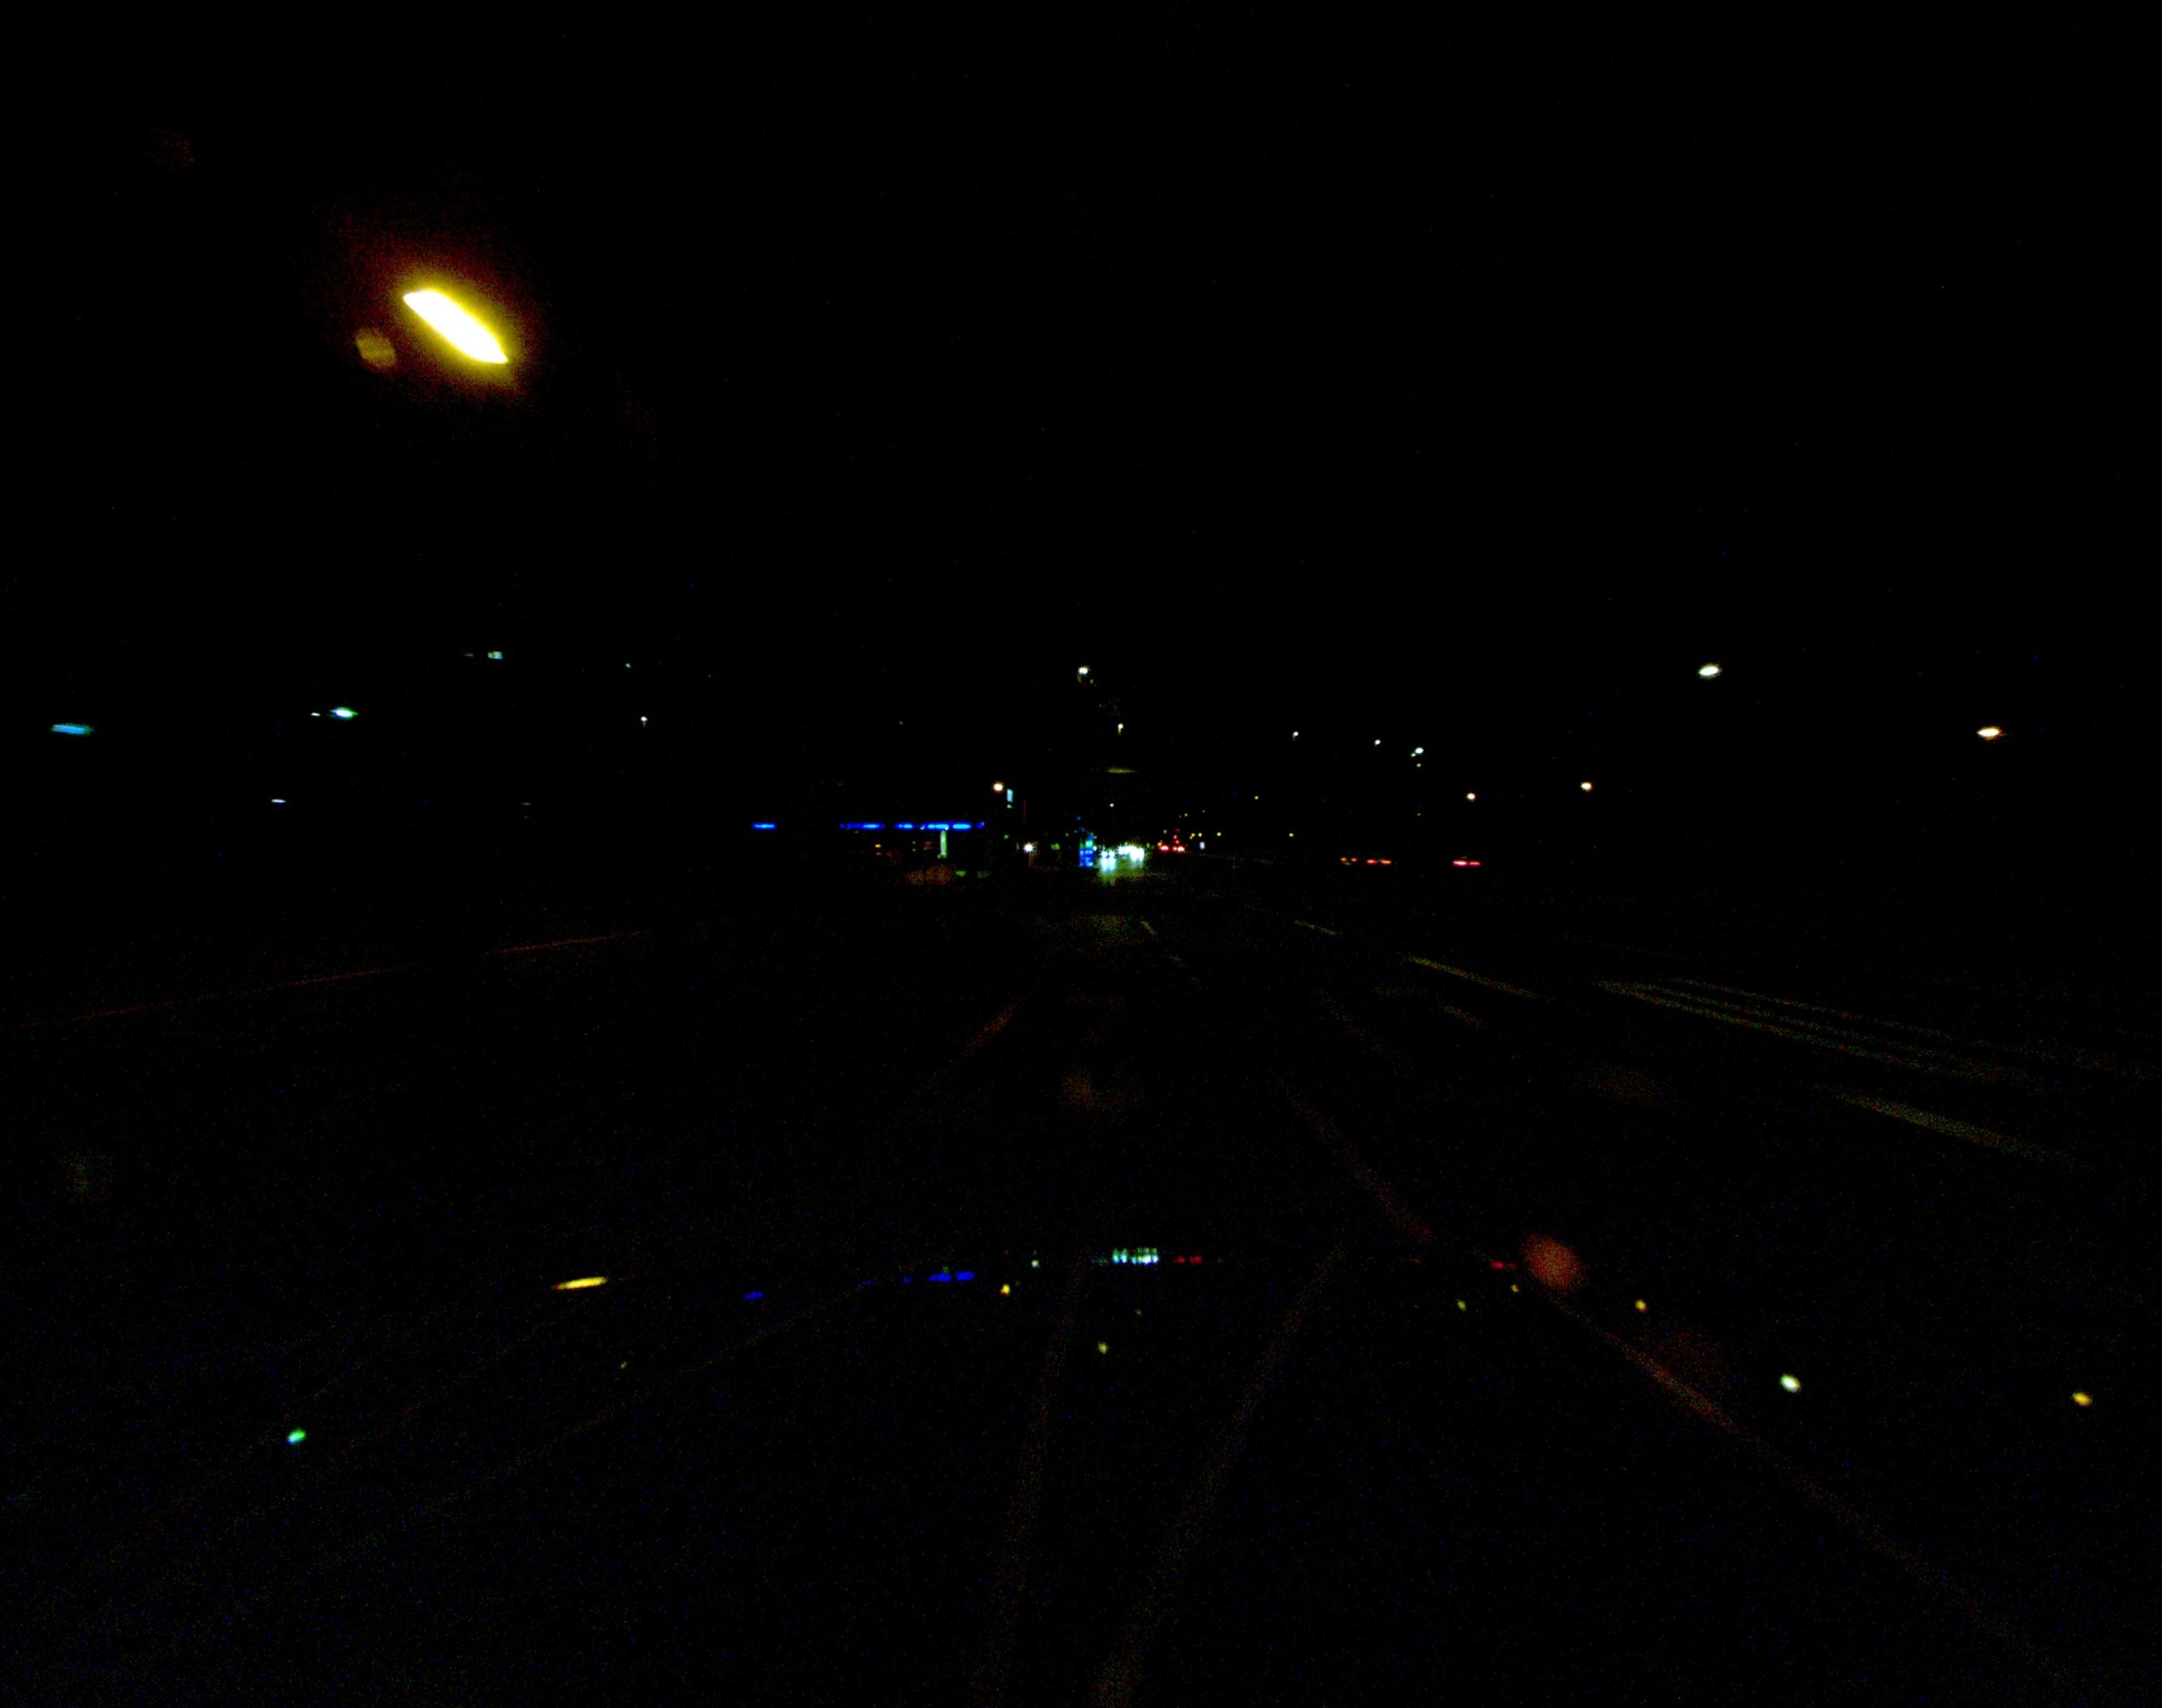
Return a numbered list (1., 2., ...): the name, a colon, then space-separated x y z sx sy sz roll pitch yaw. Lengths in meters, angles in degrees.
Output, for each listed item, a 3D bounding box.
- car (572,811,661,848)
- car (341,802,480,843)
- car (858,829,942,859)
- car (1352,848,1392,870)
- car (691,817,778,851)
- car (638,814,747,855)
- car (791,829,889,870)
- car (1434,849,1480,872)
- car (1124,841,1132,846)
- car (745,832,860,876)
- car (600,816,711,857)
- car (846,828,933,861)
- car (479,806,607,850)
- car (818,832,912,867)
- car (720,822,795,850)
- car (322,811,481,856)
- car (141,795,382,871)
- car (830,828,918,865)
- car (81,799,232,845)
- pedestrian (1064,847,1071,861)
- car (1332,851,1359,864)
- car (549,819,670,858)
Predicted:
1. car: -25.595 -1.372 41.977 3.819 1.885 1.751 2 2 -2
2. car: -34.519 -1.577 39.373 5.250 1.959 2.183 0 2 -38
3. car: -9.904 -0.564 41.738 4.129 1.514 1.822 1 3 2
4. car: 24.281 0.372 63.569 1.805 1.685 3.999 -2 1 1
5. car: -19.254 -1.124 42.367 3.995 1.721 1.837 2 2 4
6. car: -18.772 -0.951 36.787 4.369 1.715 1.751 3 2 3
7. car: -10.024 -0.210 31.787 3.572 1.561 1.725 2 2 -3
8. car: 31.221 0.531 63.197 1.836 1.675 3.998 -2 2 -1
9. car: 13.061 -2.927 212.774 1.991 1.473 4.203 1 2 2
10. car: -10.593 0.008 28.929 3.850 1.482 1.735 1 4 -30
11. car: -19.219 -0.807 34.428 3.996 1.680 1.819 2 2 2
12. car: -9.916 -0.532 39.517 3.996 1.562 1.738 2 2 2
13. car: -25.257 -1.226 35.799 4.588 1.900 1.999 1 2 -2
14. car: -9.768 -0.226 34.505 3.734 1.481 1.741 1 2 -1
15. car: -18.986 -1.071 44.677 3.648 1.462 1.637 3 3 5
16. car: -24.412 -0.746 27.423 3.998 1.482 1.866 1 2 -2
17. car: -19.556 -0.478 18.388 3.794 1.518 1.729 3 1 -44
18. car: -9.997 -0.364 36.869 3.756 1.578 1.779 3 3 0
19. car: -35.081 -1.217 28.884 3.994 1.559 1.807 3 3 8
20. pedestrian: -1.903 -0.014 108.459 0.806 1.902 0.794 2 2 11
21. car: 29.439 0.417 84.707 1.532 1.263 3.388 -2 2 -5
22. car: -19.664 -0.669 31.814 3.883 1.425 1.767 2 2 -4
